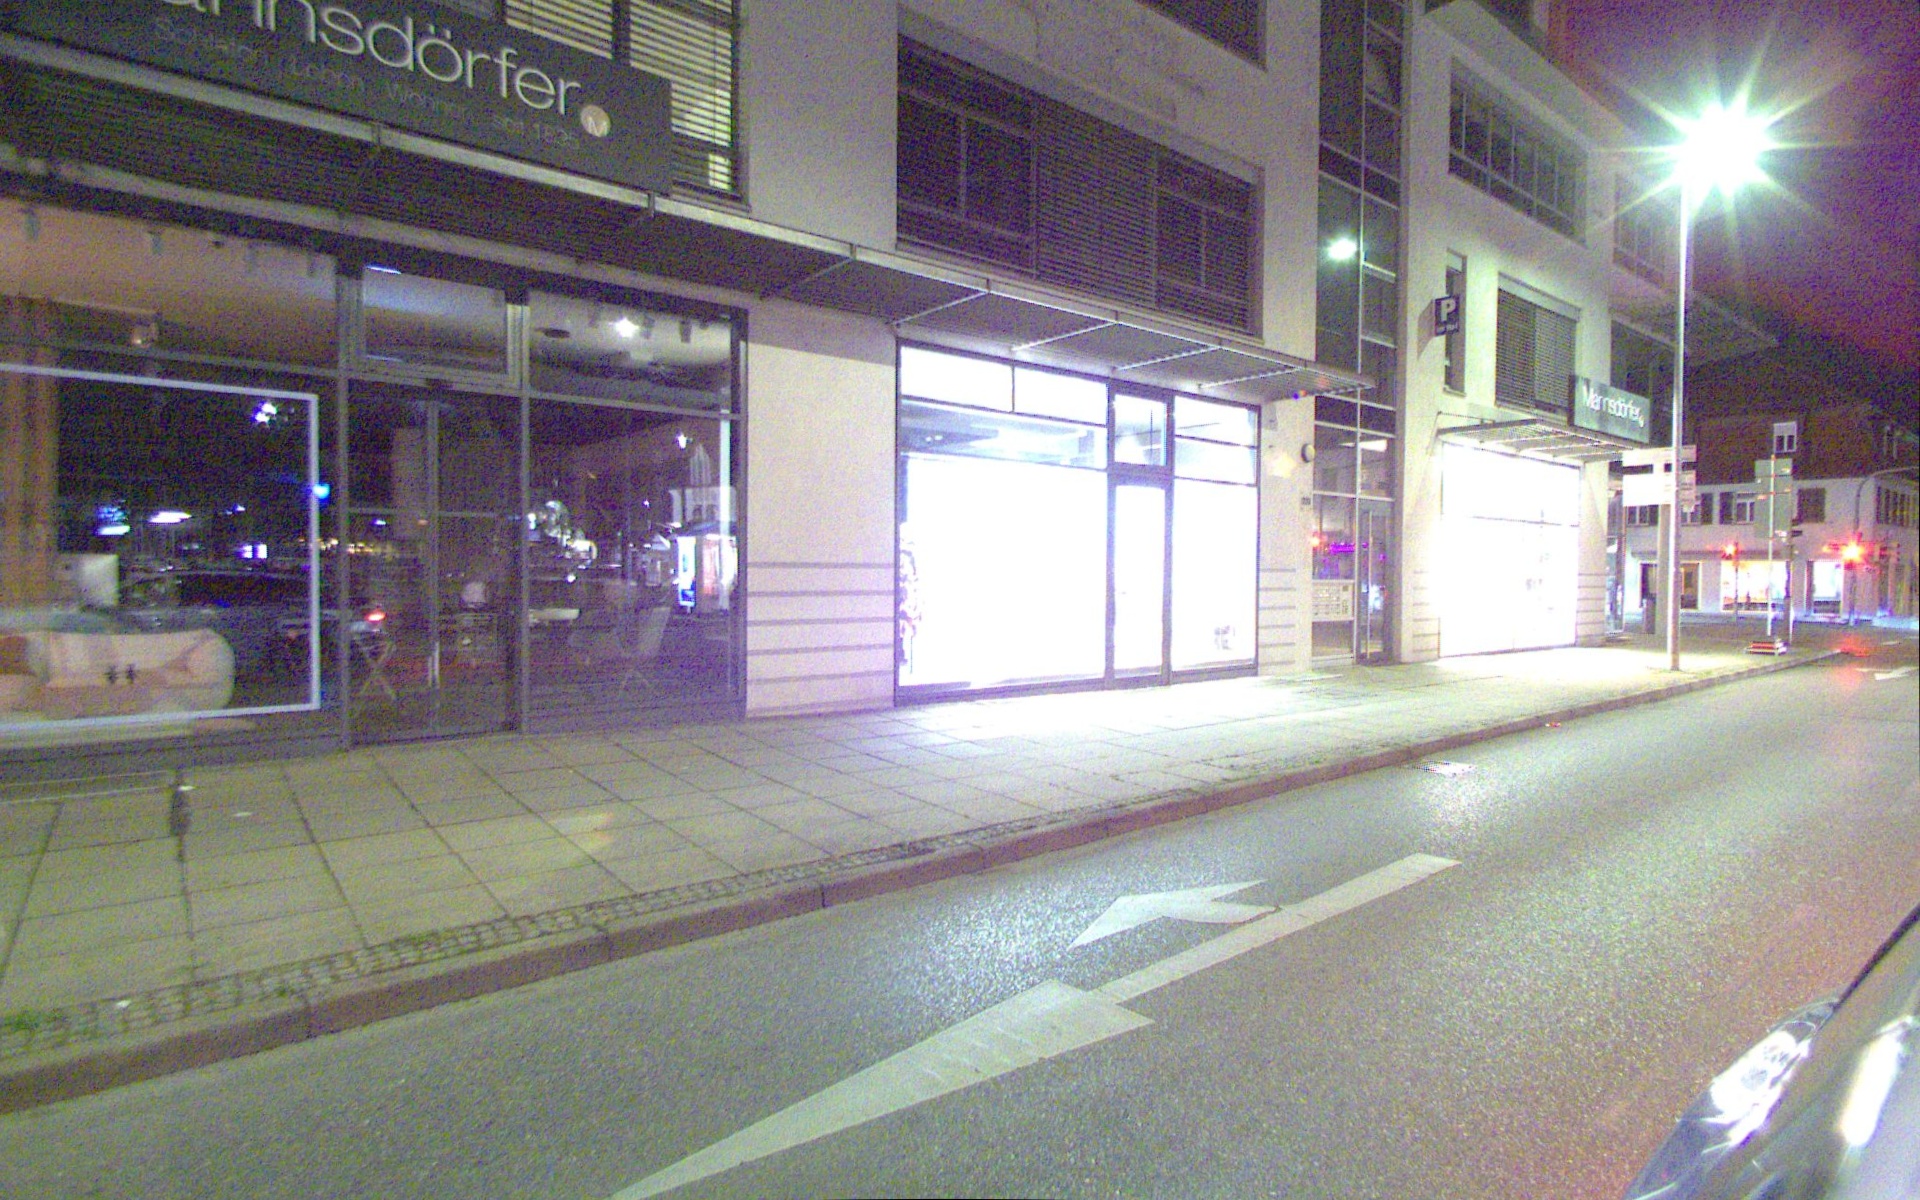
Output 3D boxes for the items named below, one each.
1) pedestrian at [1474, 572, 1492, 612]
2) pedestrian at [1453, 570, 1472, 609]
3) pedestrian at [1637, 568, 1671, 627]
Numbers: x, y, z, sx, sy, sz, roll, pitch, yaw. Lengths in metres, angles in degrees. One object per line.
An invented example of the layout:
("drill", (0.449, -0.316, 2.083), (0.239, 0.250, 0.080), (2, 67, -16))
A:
("pedestrian", (23.305, -0.356, 45.102), (0.556, 1.738, 0.525), (0, 0, -34))
("pedestrian", (22.783, -0.480, 45.916), (0.556, 1.738, 0.567), (0, 0, -34))
("pedestrian", (20.441, -0.082, 29.822), (0.634, 1.703, 0.541), (0, 0, -19))
